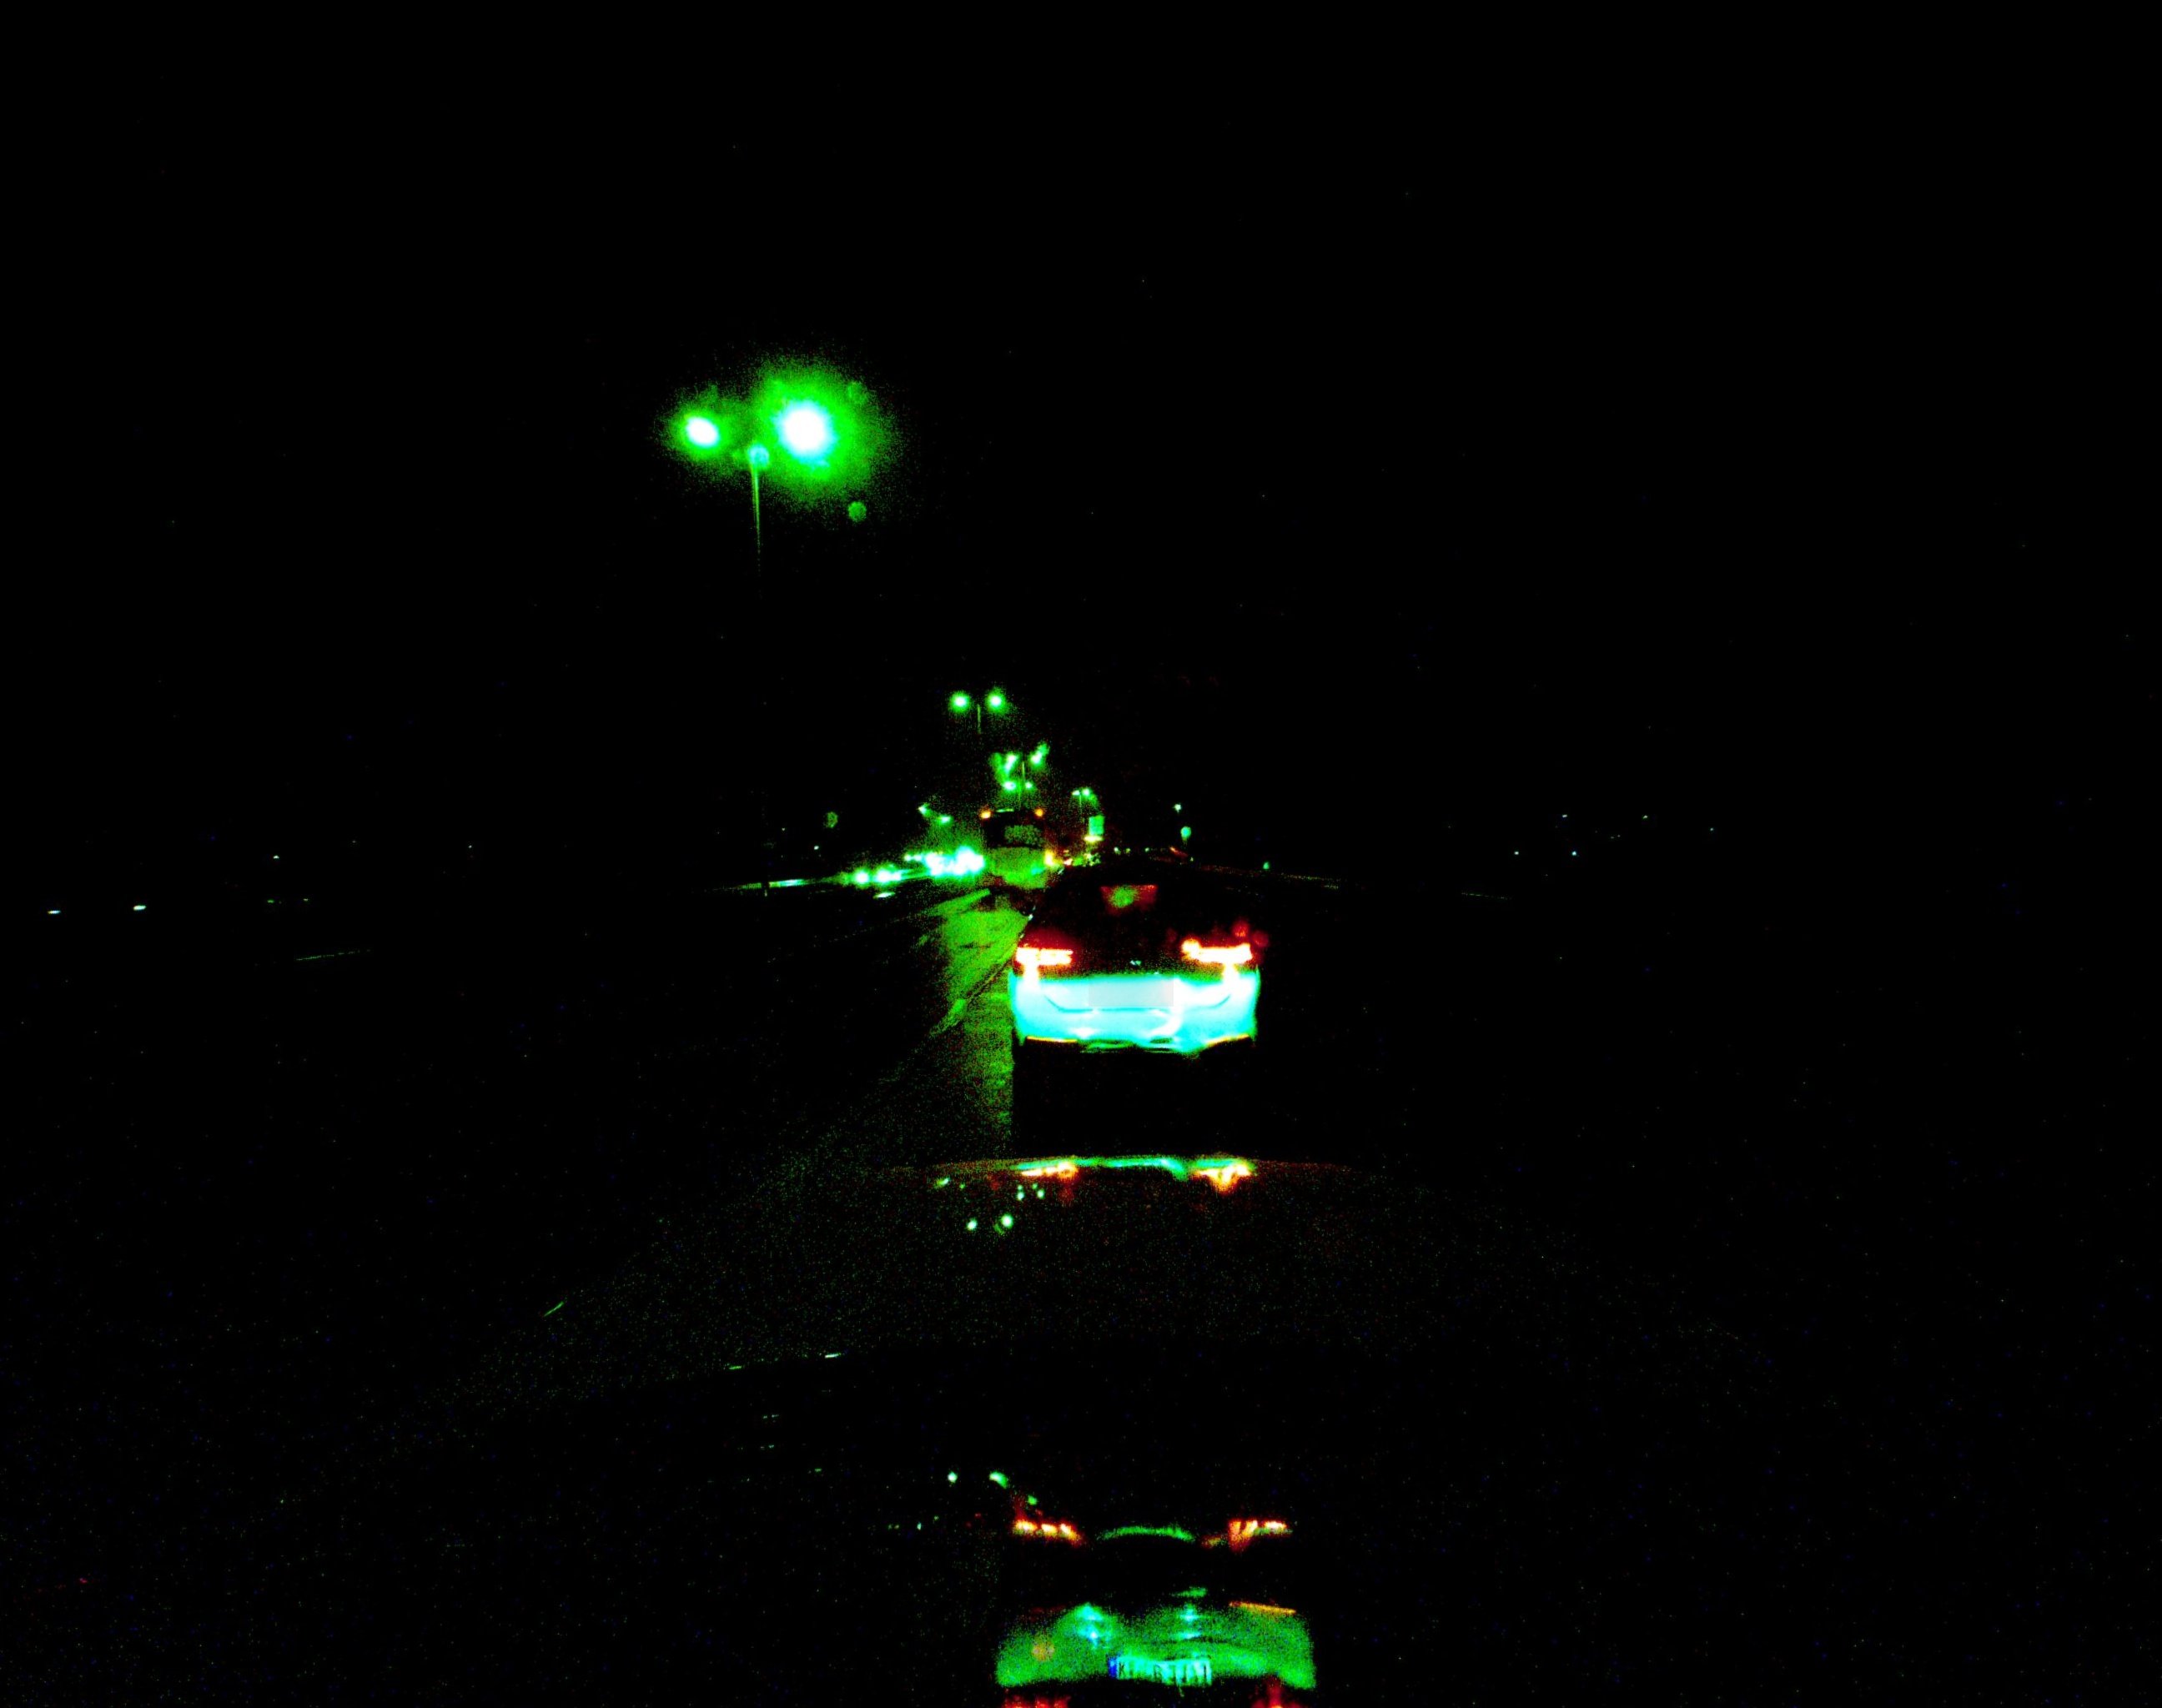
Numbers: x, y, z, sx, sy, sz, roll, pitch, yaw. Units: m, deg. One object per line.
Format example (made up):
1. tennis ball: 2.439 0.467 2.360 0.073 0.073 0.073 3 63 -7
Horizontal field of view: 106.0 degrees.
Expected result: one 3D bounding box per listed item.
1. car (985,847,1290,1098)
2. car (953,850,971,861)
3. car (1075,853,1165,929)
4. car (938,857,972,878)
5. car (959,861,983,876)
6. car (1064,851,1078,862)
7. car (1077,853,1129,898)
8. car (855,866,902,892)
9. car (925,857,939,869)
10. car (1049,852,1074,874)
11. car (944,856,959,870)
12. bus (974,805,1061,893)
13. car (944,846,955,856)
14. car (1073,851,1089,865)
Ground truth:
1. car: 0.419 0.715 7.234 1.815 1.484 4.570 -1 0 2
2. car: -22.616 0.294 154.562 2.006 2.014 3.962 0 -1 -30
3. car: 0.763 0.718 18.226 1.726 1.449 4.724 -1 0 0
4. car: -9.196 0.940 59.868 1.604 1.381 4.748 -1 0 2
5. car: -11.812 1.521 87.796 1.849 1.476 4.780 -2 0 1
6. car: -1.467 0.384 121.456 1.773 1.543 3.876 -1 0 2
7. car: 0.758 0.754 30.319 1.734 1.565 3.774 -1 0 -2
8. car: -12.369 1.498 49.984 1.604 1.381 4.166 -4 0 2
9. car: -25.610 1.569 140.393 1.990 2.014 3.993 0 -1 -5
10. car: -1.412 0.652 59.601 1.774 1.543 3.873 -1 0 -1
11. car: -19.461 1.309 122.590 1.990 2.014 3.993 0 -1 -5
12. bus: -2.328 -0.185 32.950 2.806 3.024 8.685 -1 0 0
13. car: -27.466 -0.537 170.227 2.122 2.014 3.984 0 -1 -11
14. car: 0.009 0.452 97.347 1.814 1.590 3.775 -2 0 -1
